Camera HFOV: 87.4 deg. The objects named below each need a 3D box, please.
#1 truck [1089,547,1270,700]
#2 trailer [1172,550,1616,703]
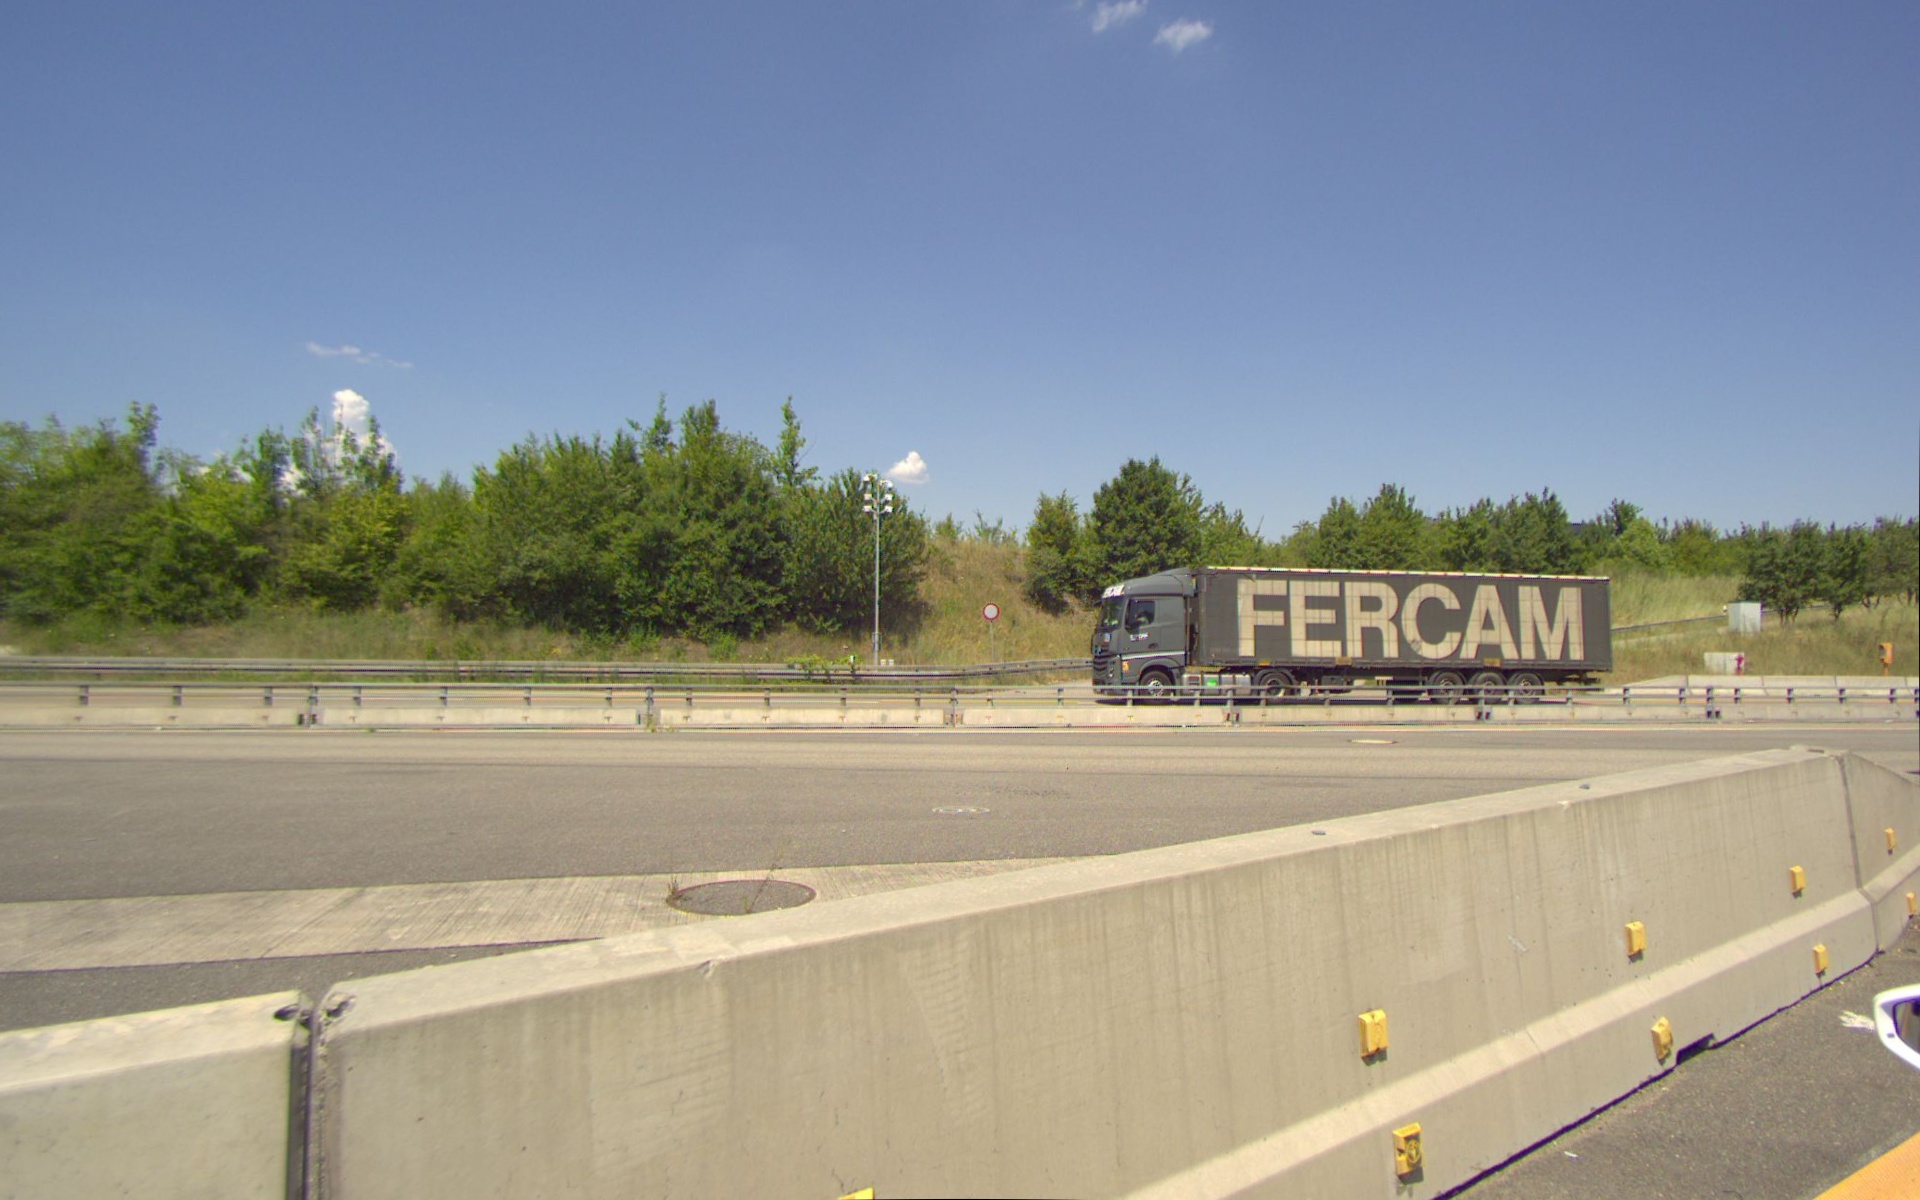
[{"bbox_3d":[6.536,0.735,30.281,4.750,4.326,2.436,1,-1,-9],"label":"truck"},{"bbox_3d":[13.546,0.900,31.388,13.558,4.353,2.440,1,-1,-9],"label":"trailer"}]
